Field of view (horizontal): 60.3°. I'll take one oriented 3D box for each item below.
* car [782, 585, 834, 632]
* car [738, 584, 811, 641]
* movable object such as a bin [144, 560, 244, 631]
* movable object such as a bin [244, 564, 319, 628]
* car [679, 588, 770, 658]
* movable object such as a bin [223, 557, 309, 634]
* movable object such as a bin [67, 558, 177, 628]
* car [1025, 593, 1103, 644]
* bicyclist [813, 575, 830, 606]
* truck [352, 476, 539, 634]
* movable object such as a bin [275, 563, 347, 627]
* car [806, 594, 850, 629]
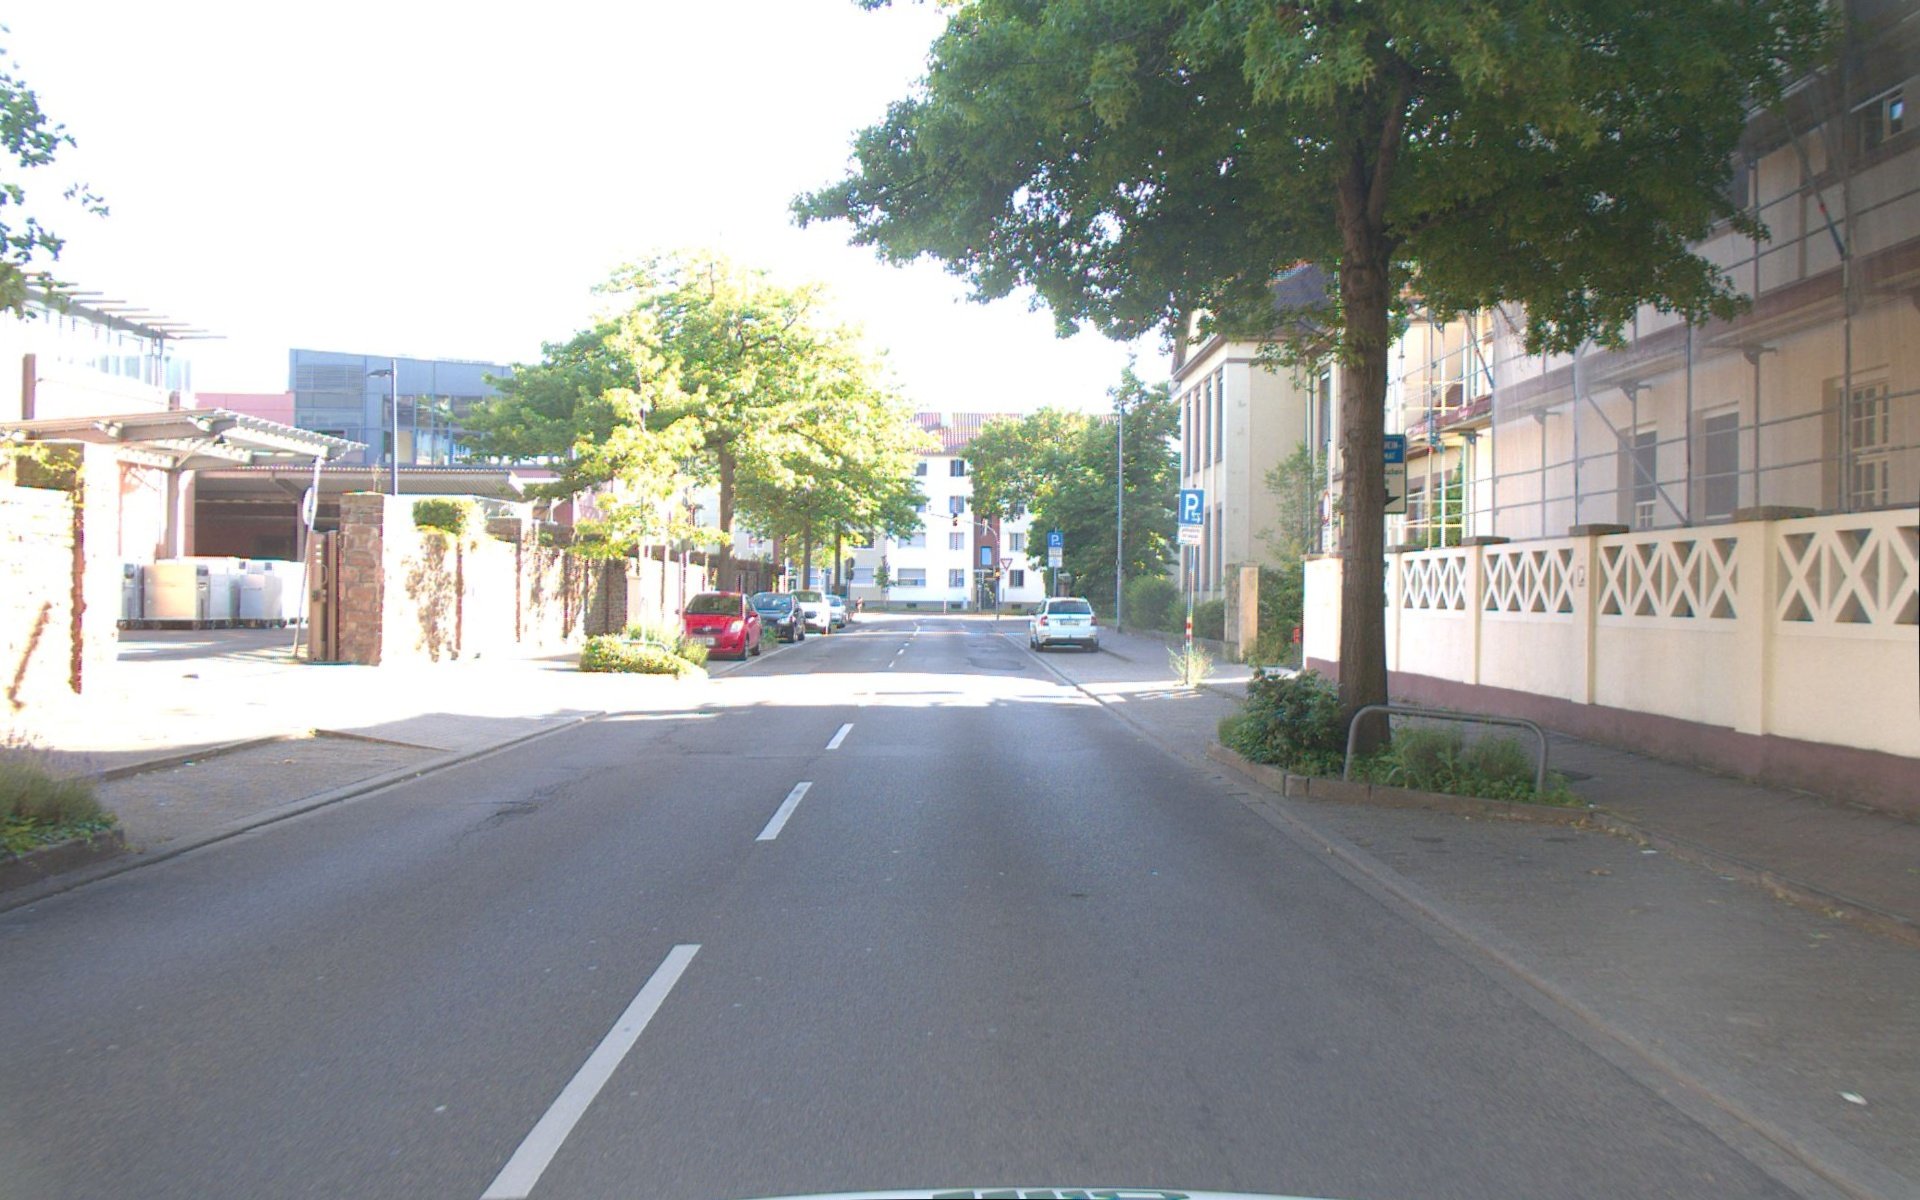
[{"bbox_3d":[-5.709,0.308,62.470,1.685,1.713,4.349,0,0,-2],"label":"car"},{"bbox_3d":[-5.758,0.360,51.734,1.701,1.620,4.107,2,0,1],"label":"car"},{"bbox_3d":[-18.607,-0.124,40.277,1.300,1.625,2.553,2,0,-3],"label":"movable object such as a bin"},{"bbox_3d":[-19.349,-0.119,47.259,1.181,1.716,2.437,2,0,-3],"label":"movable object such as a bin"},{"bbox_3d":[-5.452,0.499,38.629,1.576,1.484,3.708,2,0,0],"label":"car"},{"bbox_3d":[-17.951,-0.118,42.829,1.167,1.897,2.438,2,0,-1],"label":"movable object such as a bin"},{"bbox_3d":[-20.002,-0.175,39.569,1.380,1.565,2.553,2,0,-3],"label":"movable object such as a bin"},{"bbox_3d":[2.860,0.491,46.339,1.795,1.346,4.495,0,0,-1],"label":"car"},{"bbox_3d":[-8.046,-0.548,95.853,0.782,1.788,0.603,1,0,-42],"label":"bicyclist"},{"bbox_3d":[-13.599,-1.129,44.377,2.677,3.776,7.427,2,0,-1],"label":"truck"},{"bbox_3d":[-19.464,-0.153,49.680,1.181,1.812,2.672,2,0,-3],"label":"movable object such as a bin"},{"bbox_3d":[-5.947,0.496,74.852,1.691,1.501,4.477,2,0,-1],"label":"car"}]
